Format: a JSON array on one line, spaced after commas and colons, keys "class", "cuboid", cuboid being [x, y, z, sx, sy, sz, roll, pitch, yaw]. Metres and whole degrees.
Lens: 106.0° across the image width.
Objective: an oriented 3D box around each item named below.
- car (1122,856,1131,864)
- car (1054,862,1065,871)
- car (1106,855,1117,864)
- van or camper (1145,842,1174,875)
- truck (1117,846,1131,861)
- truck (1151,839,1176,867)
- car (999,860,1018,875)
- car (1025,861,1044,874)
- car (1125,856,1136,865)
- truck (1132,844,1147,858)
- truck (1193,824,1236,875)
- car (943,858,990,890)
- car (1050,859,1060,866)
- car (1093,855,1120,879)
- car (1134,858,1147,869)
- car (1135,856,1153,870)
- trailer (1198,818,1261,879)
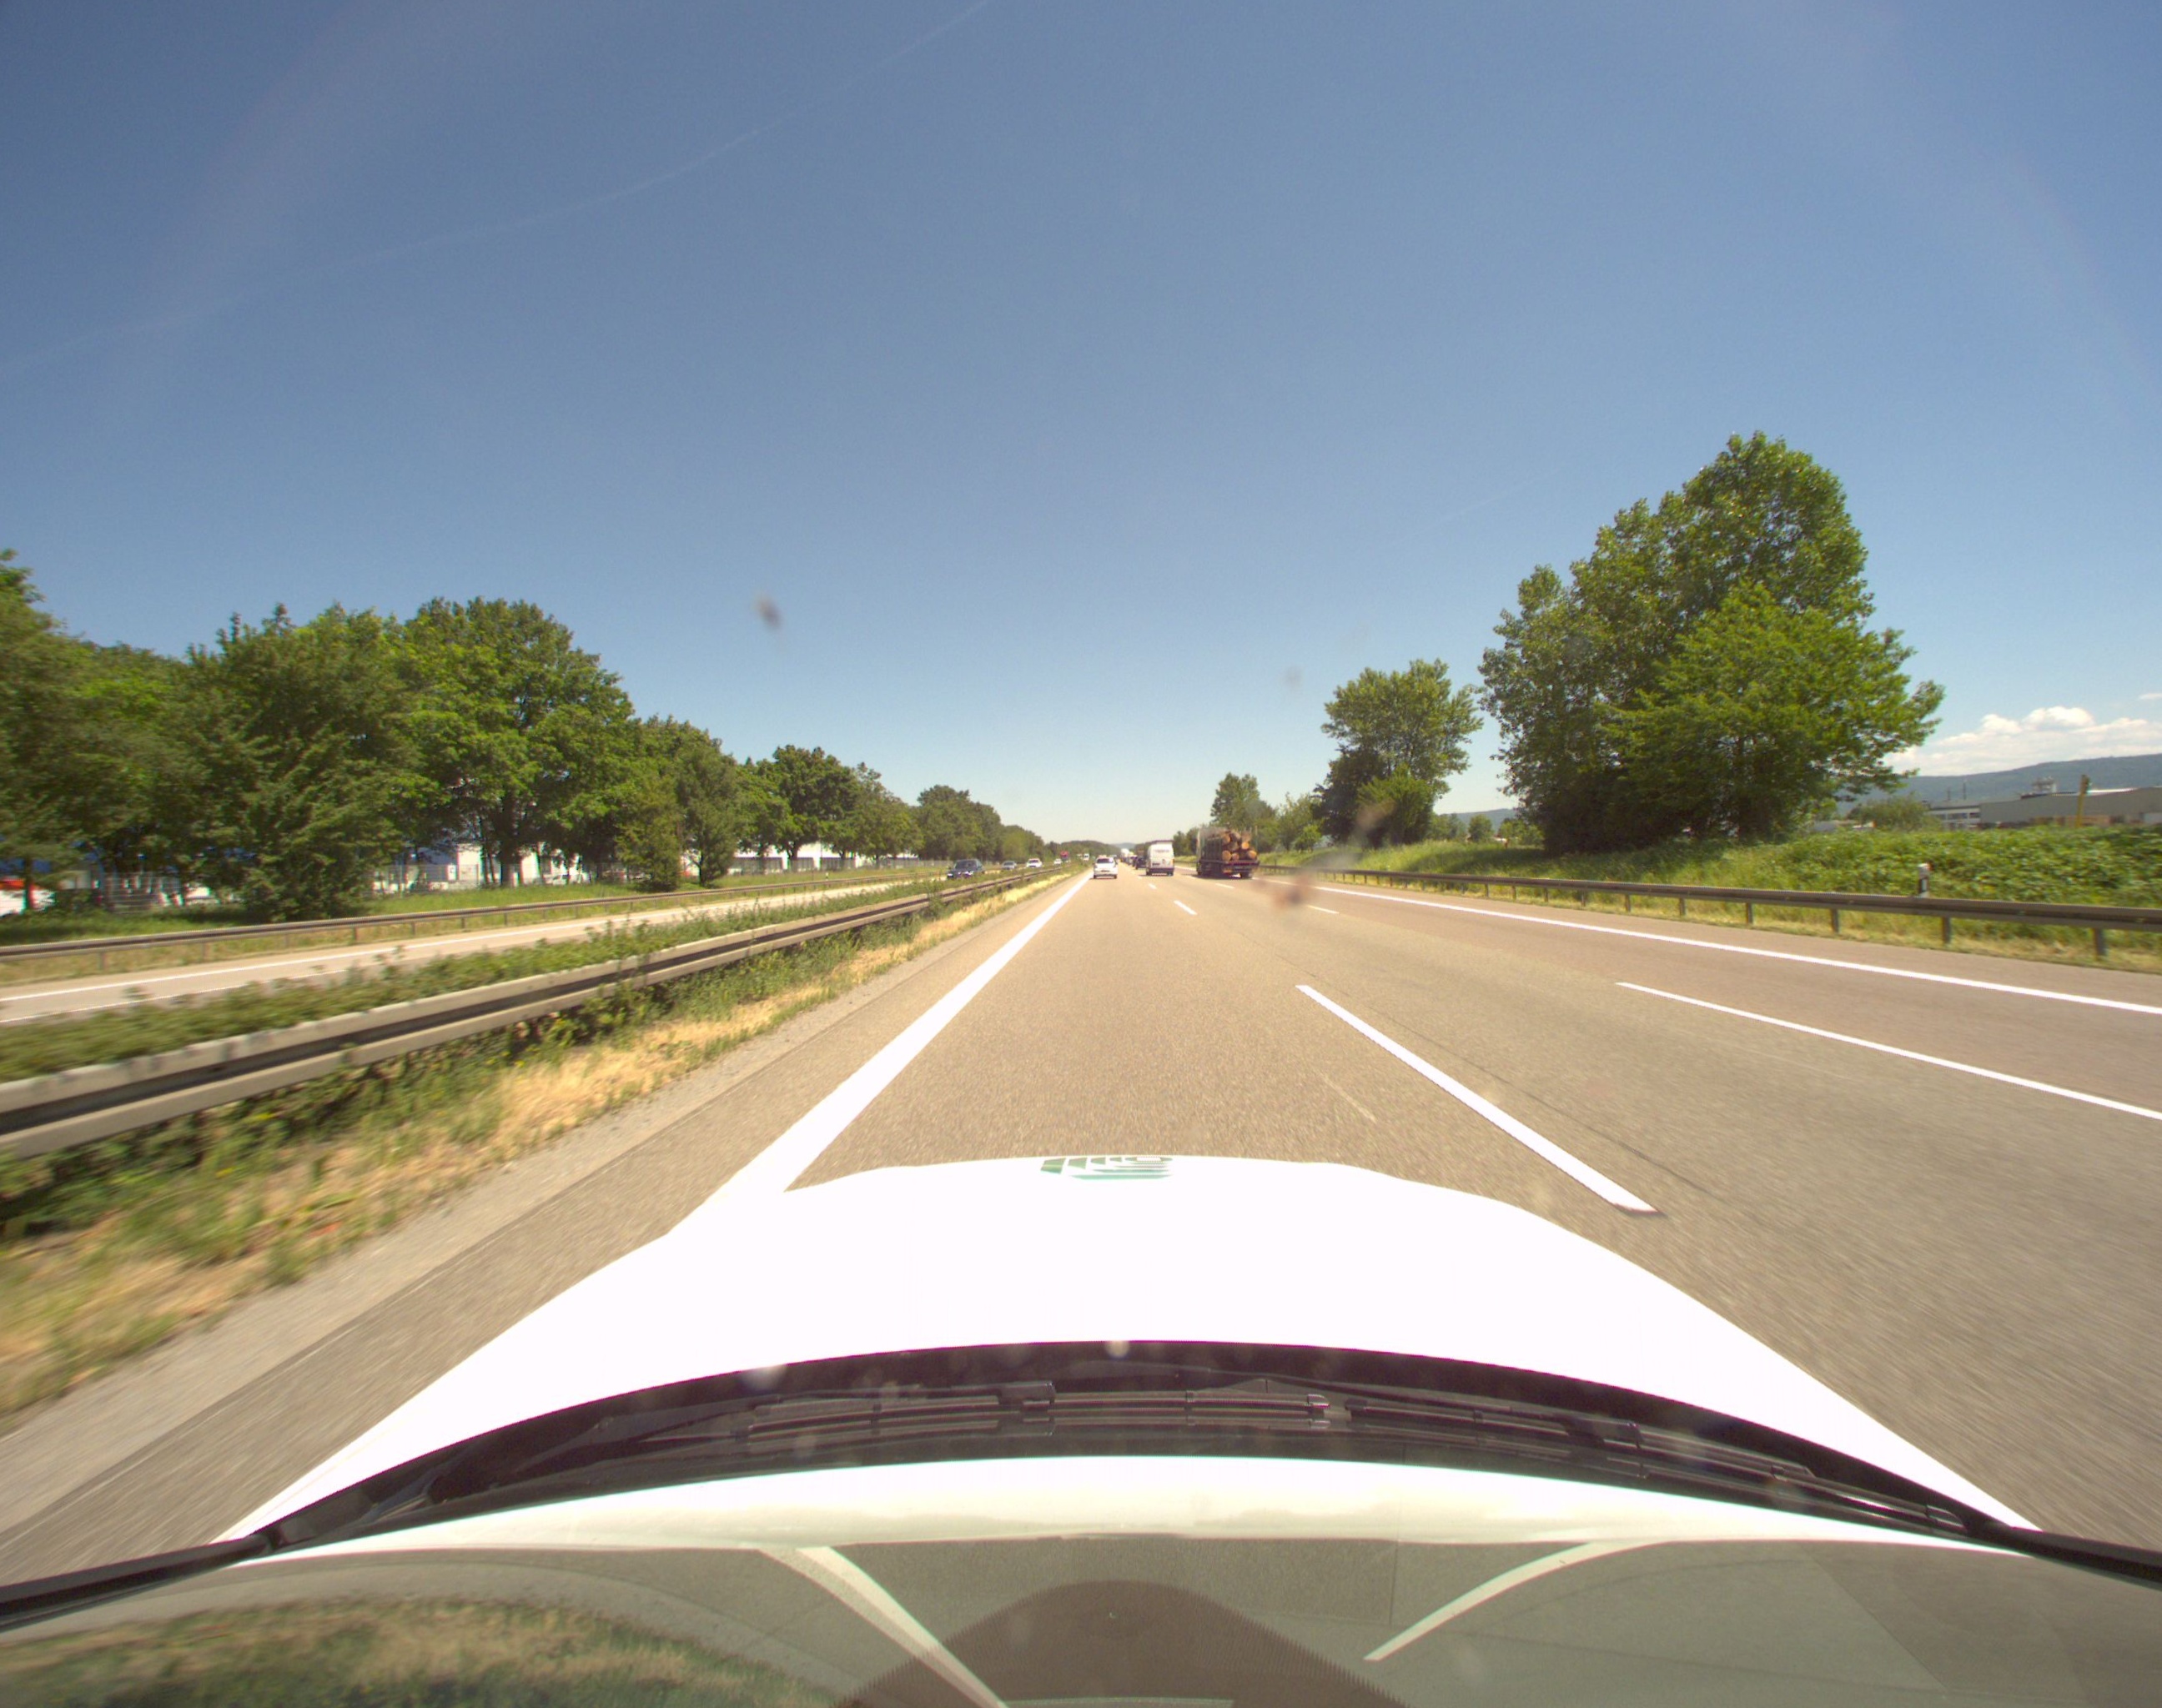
[{"class": "car", "cuboid": [9.798, 1.263, 176.449, 1.851, 1.652, 4.000, 0, 0, 0]}, {"class": "car", "cuboid": [-4.435, 2.505, 169.860, 1.986, 1.640, 4.861, -5, -1, 2]}, {"class": "car", "cuboid": [5.385, 1.007, 143.672, 1.851, 1.652, 4.000, 0, 0, 0]}, {"class": "van or camper", "cuboid": [6.420, 0.370, 67.155, 2.050, 2.622, 5.988, -1, 0, 2]}, {"class": "truck", "cuboid": [12.606, -0.183, 241.267, 3.247, 4.209, 16.838, 0, 0, 0]}, {"class": "truck", "cuboid": [13.094, -0.039, 131.169, 3.066, 4.209, 16.854, 0, 0, 3]}, {"class": "car", "cuboid": [-9.034, 1.711, 101.936, 1.865, 1.794, 4.426, 0, 0, 2]}, {"class": "car", "cuboid": [-5.902, 1.743, 104.209, 1.986, 1.640, 4.574, 0, 0, 2]}, {"class": "car", "cuboid": [8.876, 1.143, 145.735, 1.851, 1.652, 4.000, 0, 0, 0]}, {"class": "truck", "cuboid": [17.876, -0.859, 250.708, 3.247, 4.209, 16.838, 0, 0, 0]}, {"class": "truck", "cuboid": [10.873, -0.318, 66.838, 2.659, 3.994, 6.639, 0, 0, 2]}, {"class": "car", "cuboid": [-7.241, 1.228, 52.148, 1.986, 1.886, 5.650, 0, 0, 2]}, {"class": "car", "cuboid": [-6.366, 2.093, 196.805, 1.987, 1.640, 4.860, -5, -1, 1]}, {"class": "car", "cuboid": [1.768, 0.893, 58.351, 1.851, 1.652, 4.000, 0, 0, 0]}, {"class": "car", "cuboid": [9.098, 1.435, 124.968, 1.851, 1.652, 4.000, 0, 0, 0]}, {"class": "car", "cuboid": [7.655, 1.087, 98.907, 1.851, 1.652, 4.000, 0, 0, 0]}, {"class": "trailer", "cuboid": [10.603, -0.335, 59.704, 2.643, 3.958, 13.643, 0, 0, 2]}]
